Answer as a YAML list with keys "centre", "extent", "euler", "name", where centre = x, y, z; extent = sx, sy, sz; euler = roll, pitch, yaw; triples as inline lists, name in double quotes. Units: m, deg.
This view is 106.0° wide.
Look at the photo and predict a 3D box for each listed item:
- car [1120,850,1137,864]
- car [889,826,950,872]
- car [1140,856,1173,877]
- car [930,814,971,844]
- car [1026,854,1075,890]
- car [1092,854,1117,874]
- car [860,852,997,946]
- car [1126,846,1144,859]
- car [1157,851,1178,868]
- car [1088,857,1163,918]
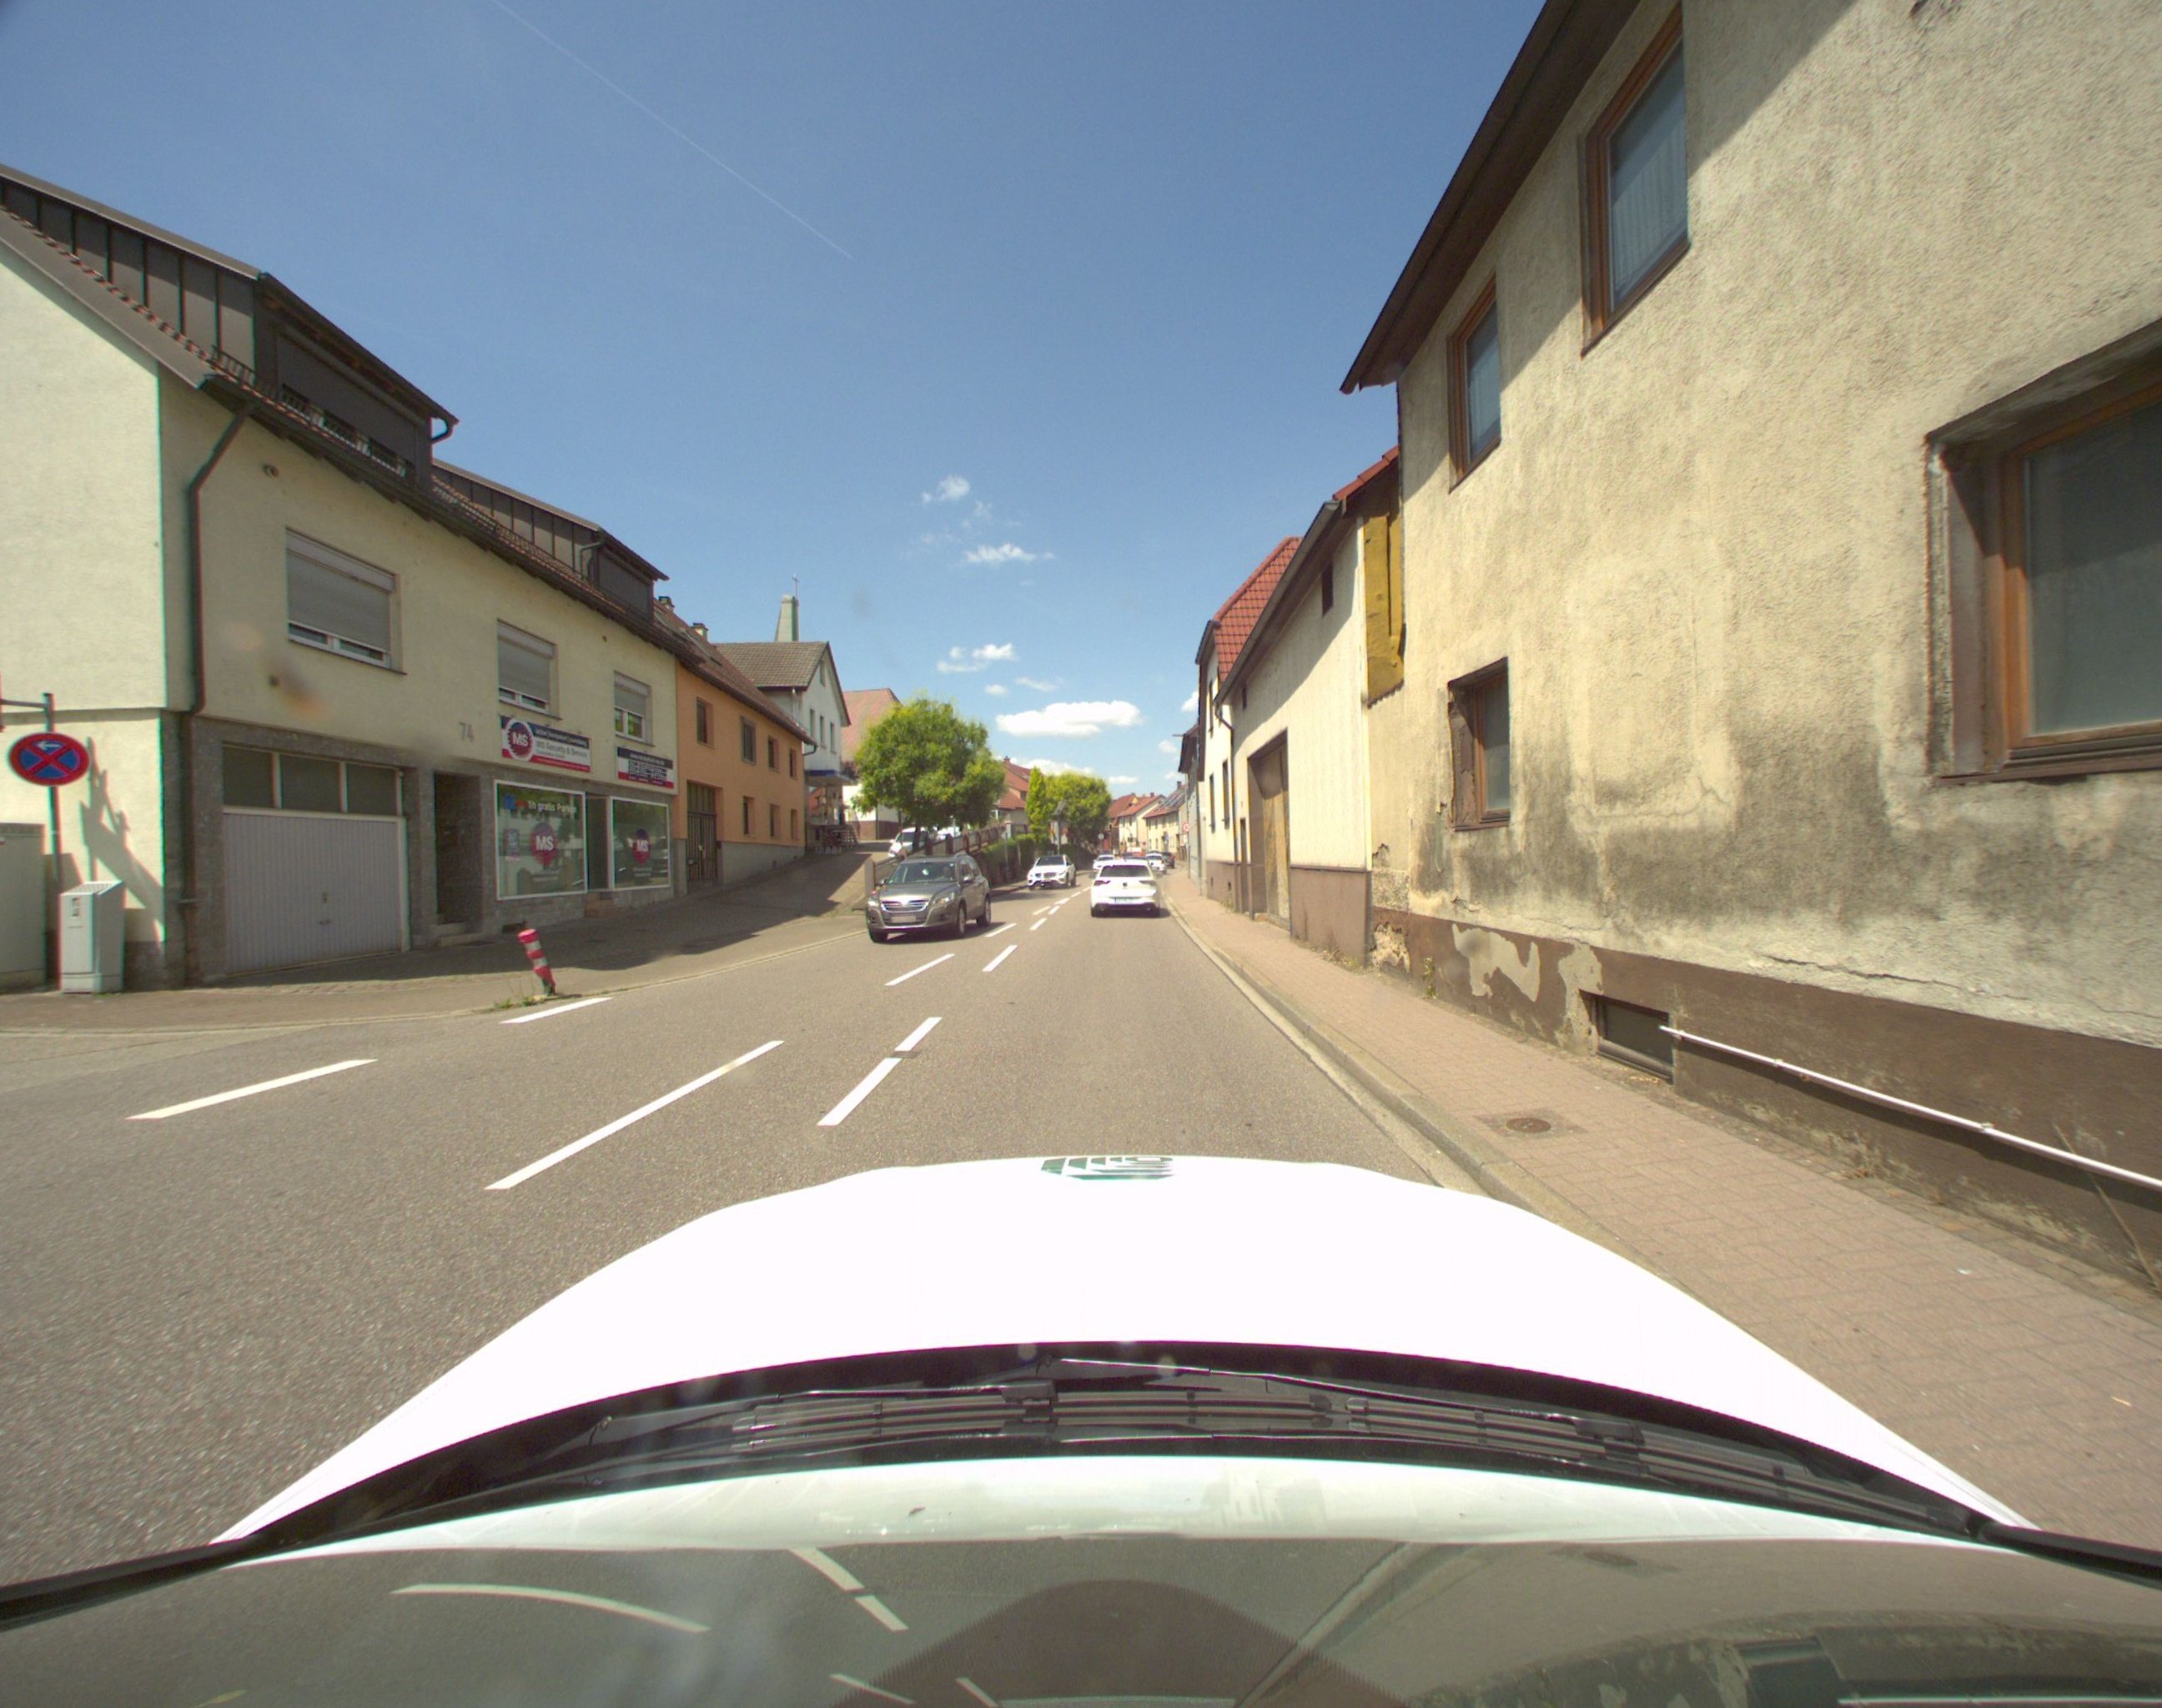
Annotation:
- centre: [5.433, 0.298, 92.549]
  extent: [1.608, 1.444, 3.809]
  euler: [-4, 0, 7]
  name: "car"
- centre: [-6.719, -0.272, 34.305]
  extent: [1.687, 1.542, 3.858]
  euler: [-2, 6, 1]
  name: "car"
- centre: [5.486, 0.911, 59.123]
  extent: [1.795, 1.467, 4.015]
  euler: [0, 0, 14]
  name: "car"
- centre: [-7.368, -1.456, 46.168]
  extent: [1.571, 1.361, 3.858]
  euler: [-2, 6, 1]
  name: "car"
- centre: [-1.439, 0.855, 40.168]
  extent: [1.834, 1.580, 4.451]
  euler: [-3, 0, 4]
  name: "car"
- centre: [1.916, 0.747, 65.236]
  extent: [1.805, 1.446, 4.434]
  euler: [-3, 0, 4]
  name: "car"
- centre: [-3.012, 0.820, 16.923]
  extent: [1.750, 1.635, 4.053]
  euler: [-3, 0, 4]
  name: "car"
- centre: [7.813, -0.202, 118.427]
  extent: [1.774, 1.765, 3.989]
  euler: [-2, 0, -8]
  name: "car"
- centre: [8.277, 0.515, 77.431]
  extent: [1.765, 1.538, 4.010]
  euler: [-2, 0, 8]
  name: "car"
- centre: [1.191, 0.816, 21.784]
  extent: [1.800, 1.467, 4.003]
  euler: [0, 0, 3]
  name: "car"
